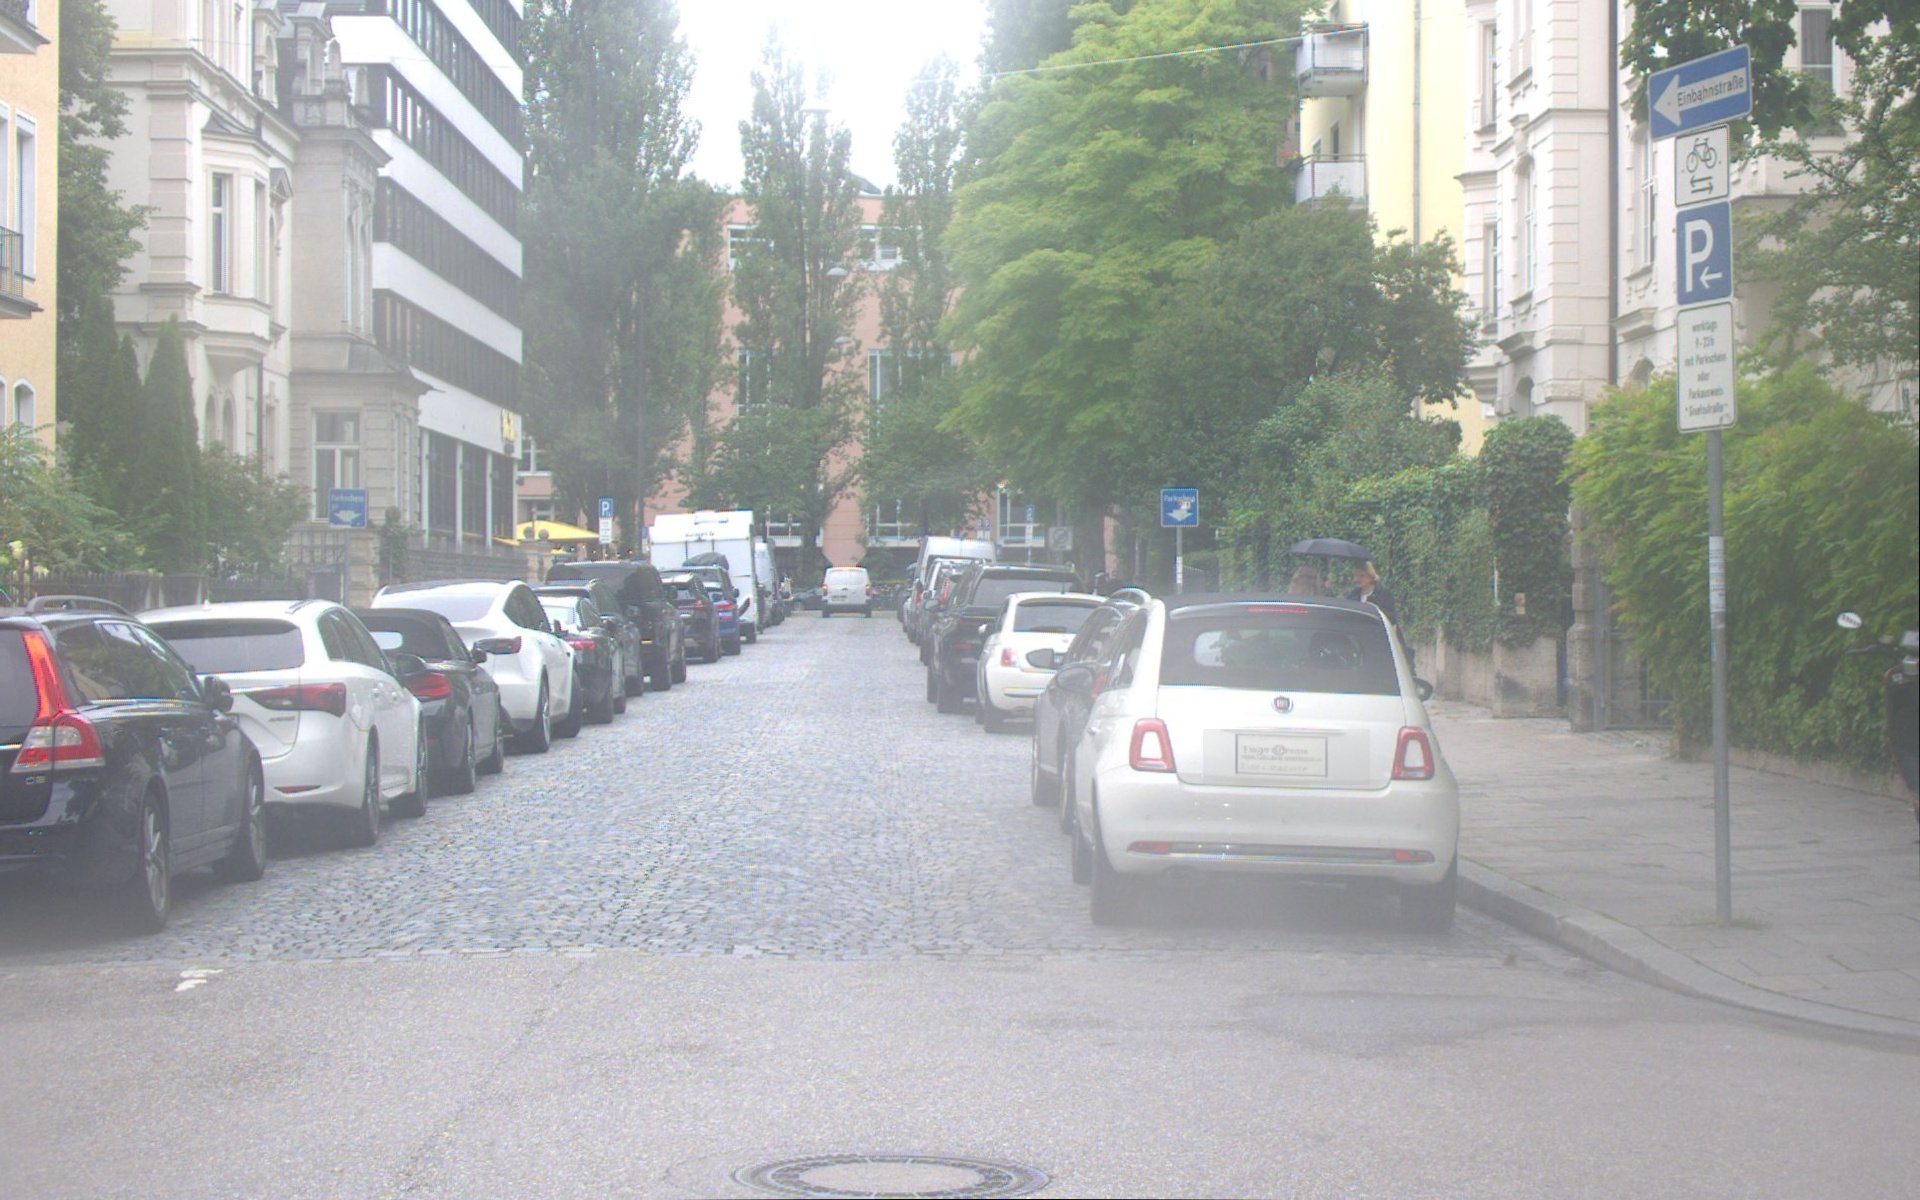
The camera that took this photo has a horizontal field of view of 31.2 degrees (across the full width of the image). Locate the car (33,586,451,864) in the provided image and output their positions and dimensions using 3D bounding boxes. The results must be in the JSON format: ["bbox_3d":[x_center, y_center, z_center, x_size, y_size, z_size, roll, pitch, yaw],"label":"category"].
[{"bbox_3d":[-4.365,0.701,21.566,1.773,1.531,4.541,-1,0,-2],"label":"car"}]

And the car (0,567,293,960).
[{"bbox_3d":[-4.505,0.659,16.651,1.852,1.580,4.749,0,1,-3],"label":"car"}]

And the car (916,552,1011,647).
[{"bbox_3d":[0.043,-0.023,75.813,1.800,1.943,4.860,3,0,-2],"label":"car"}]

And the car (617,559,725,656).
[{"bbox_3d":[-5.296,0.128,63.424,1.773,1.712,4.391,0,0,-2],"label":"car"}]

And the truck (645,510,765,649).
[{"bbox_3d":[-5.874,-0.507,79.913,2.508,3.021,6.385,-2,1,-3],"label":"truck"}]

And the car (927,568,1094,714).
[{"bbox_3d":[0.558,0.474,42.477,1.875,1.667,5.491,0,0,-1],"label":"car"}]

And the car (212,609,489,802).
[{"bbox_3d":[-4.646,0.760,26.725,1.773,1.355,4.392,0,0,-6],"label":"car"}]

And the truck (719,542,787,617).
[{"bbox_3d":[-6.534,-0.638,108.697,1.993,2.339,4.068,0,0,-1],"label":"truck"}]

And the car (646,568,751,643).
[{"bbox_3d":[-5.202,0.105,68.794,1.940,1.454,4.058,0,0,-2],"label":"car"}]

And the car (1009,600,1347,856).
[{"bbox_3d":[1.324,0.757,22.611,1.648,1.417,4.633,3,0,-3],"label":"car"}]

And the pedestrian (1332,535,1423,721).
[{"bbox_3d":[4.109,0.271,33.825,0.628,1.802,0.660,1,0,-24],"label":"pedestrian"}]

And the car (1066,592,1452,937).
[{"bbox_3d":[1.334,0.702,16.548,1.502,1.466,3.795,0,0,0],"label":"car"}]

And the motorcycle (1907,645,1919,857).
[{"bbox_3d":[5.116,0.782,17.249,0.362,1.086,1.403,0,0,1],"label":"motorcycle"}]

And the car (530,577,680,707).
[{"bbox_3d":[-4.623,0.533,45.156,1.579,1.584,4.056,-2,0,-1],"label":"car"}]

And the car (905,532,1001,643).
[{"bbox_3d":[-0.204,-0.339,81.350,1.895,2.418,5.612,4,1,-2],"label":"car"}]

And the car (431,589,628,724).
[{"bbox_3d":[-4.809,0.601,38.887,1.773,1.424,4.391,0,0,-1],"label":"car"}]

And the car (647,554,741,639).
[{"bbox_3d":[-5.658,-0.094,73.583,1.894,1.745,4.168,-1,1,-3],"label":"car"}]

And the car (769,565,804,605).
[{"bbox_3d":[-6.792,-0.598,134.707,1.276,1.536,3.119,0,0,-1],"label":"car"}]

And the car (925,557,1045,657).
[{"bbox_3d":[0.422,0.126,62.929,1.963,1.753,4.954,0,0,-2],"label":"car"}]

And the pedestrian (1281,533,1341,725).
[{"bbox_3d":[3.412,0.278,33.380,0.576,1.844,0.681,0,0,6],"label":"pedestrian"}]

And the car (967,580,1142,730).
[{"bbox_3d":[0.970,0.563,36.954,1.630,1.464,3.659,2,0,-2],"label":"car"}]

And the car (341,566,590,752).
[{"bbox_3d":[-4.645,0.526,32.820,1.773,1.642,4.391,0,0,-1],"label":"car"}]

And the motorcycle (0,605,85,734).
[{"bbox_3d":[-8.855,0.655,33.124,0.491,1.190,1.579,0,0,-2],"label":"motorcycle"}]

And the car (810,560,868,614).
[{"bbox_3d":[-4.411,-0.461,125.899,1.996,1.929,4.000,0,0,0],"label":"car"}]
